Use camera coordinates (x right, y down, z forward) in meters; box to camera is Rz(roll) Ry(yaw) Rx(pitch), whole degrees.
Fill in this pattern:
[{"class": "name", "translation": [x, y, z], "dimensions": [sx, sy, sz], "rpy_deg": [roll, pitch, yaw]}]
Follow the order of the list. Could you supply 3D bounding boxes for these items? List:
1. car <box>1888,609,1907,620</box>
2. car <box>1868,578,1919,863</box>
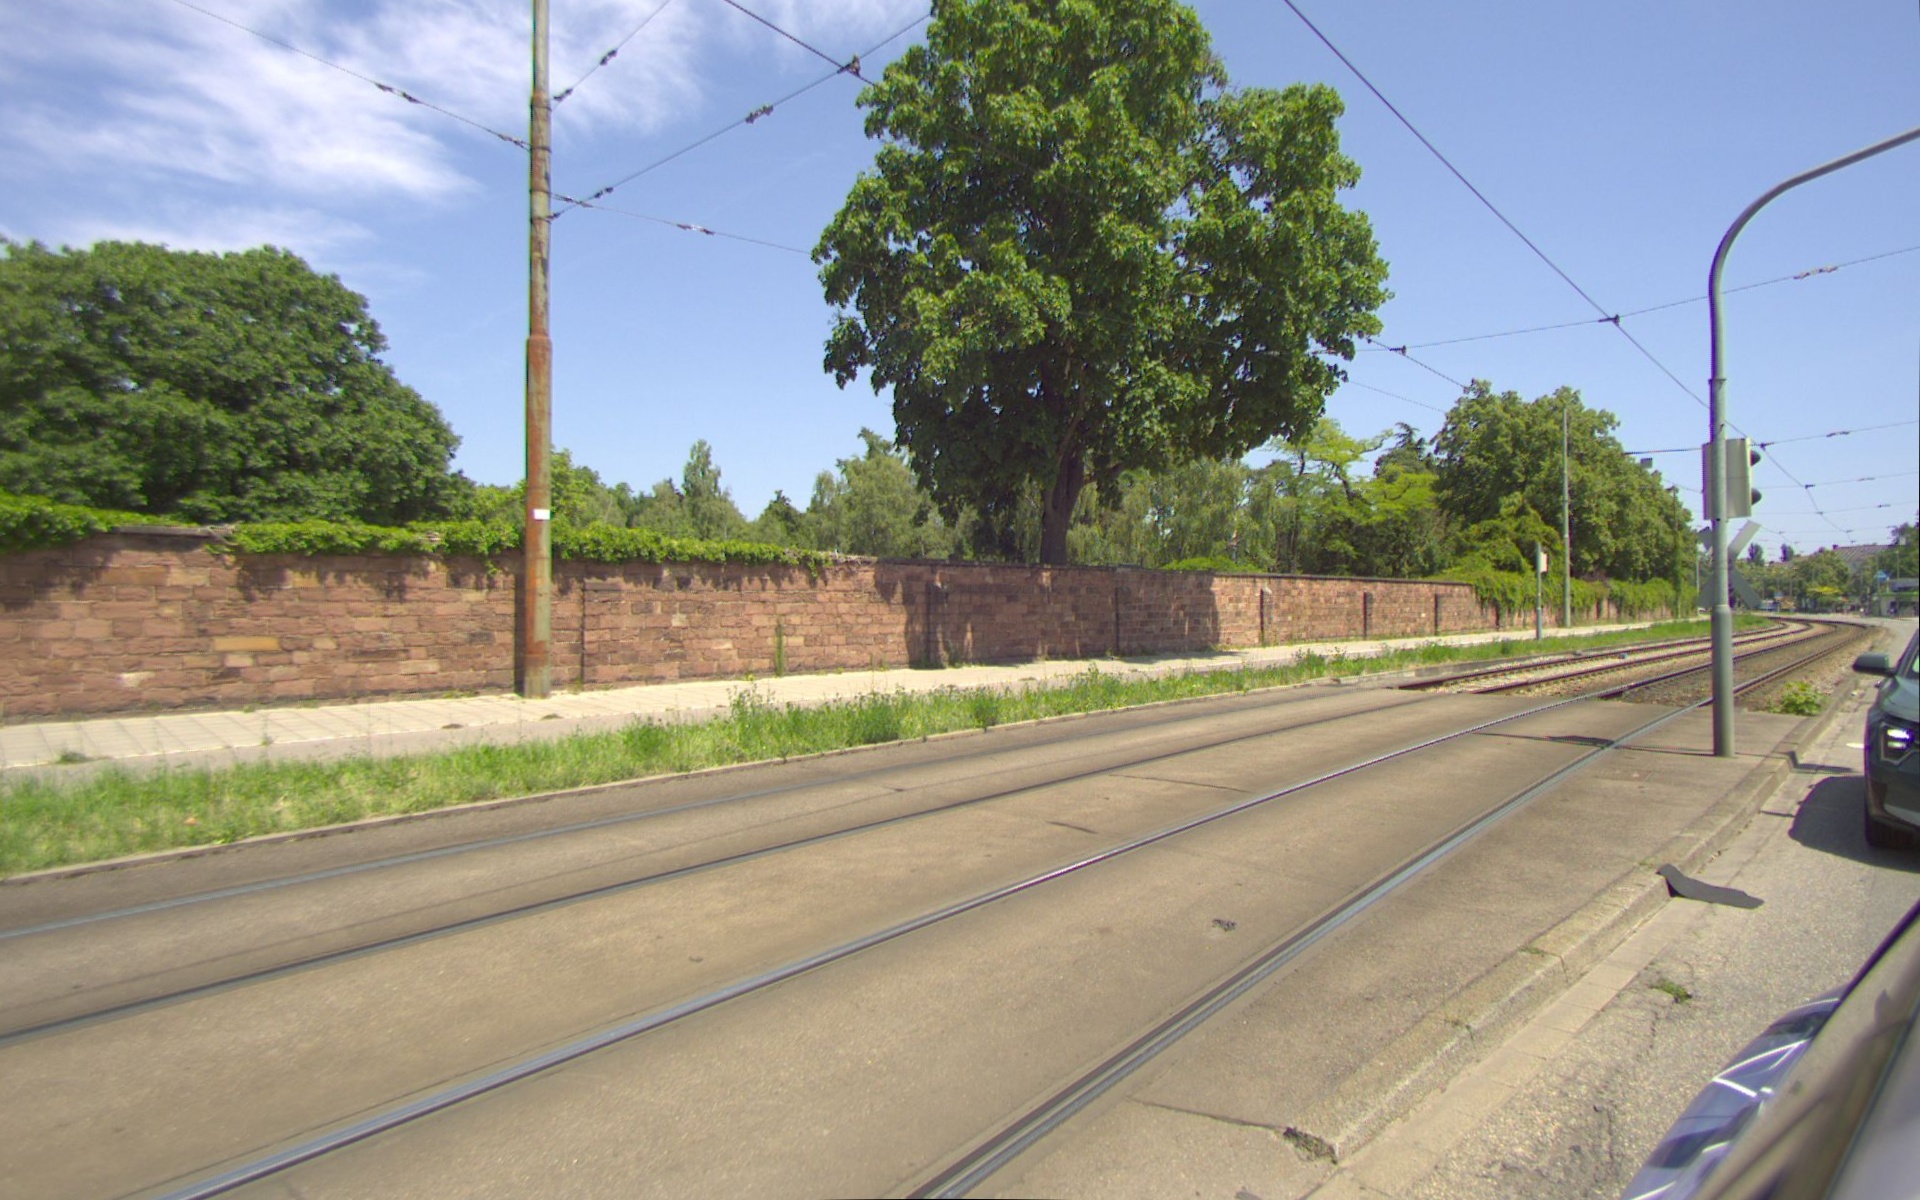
[{"class": "car", "translation": [138.209, 2.078, 149.203], "dimensions": [1.858, 1.515, 3.417], "rpy_deg": [-5, -4, 42]}, {"class": "car", "translation": [7.405, 0.663, 6.774], "dimensions": [1.754, 1.603, 4.356], "rpy_deg": [-2, -1, 44]}]
